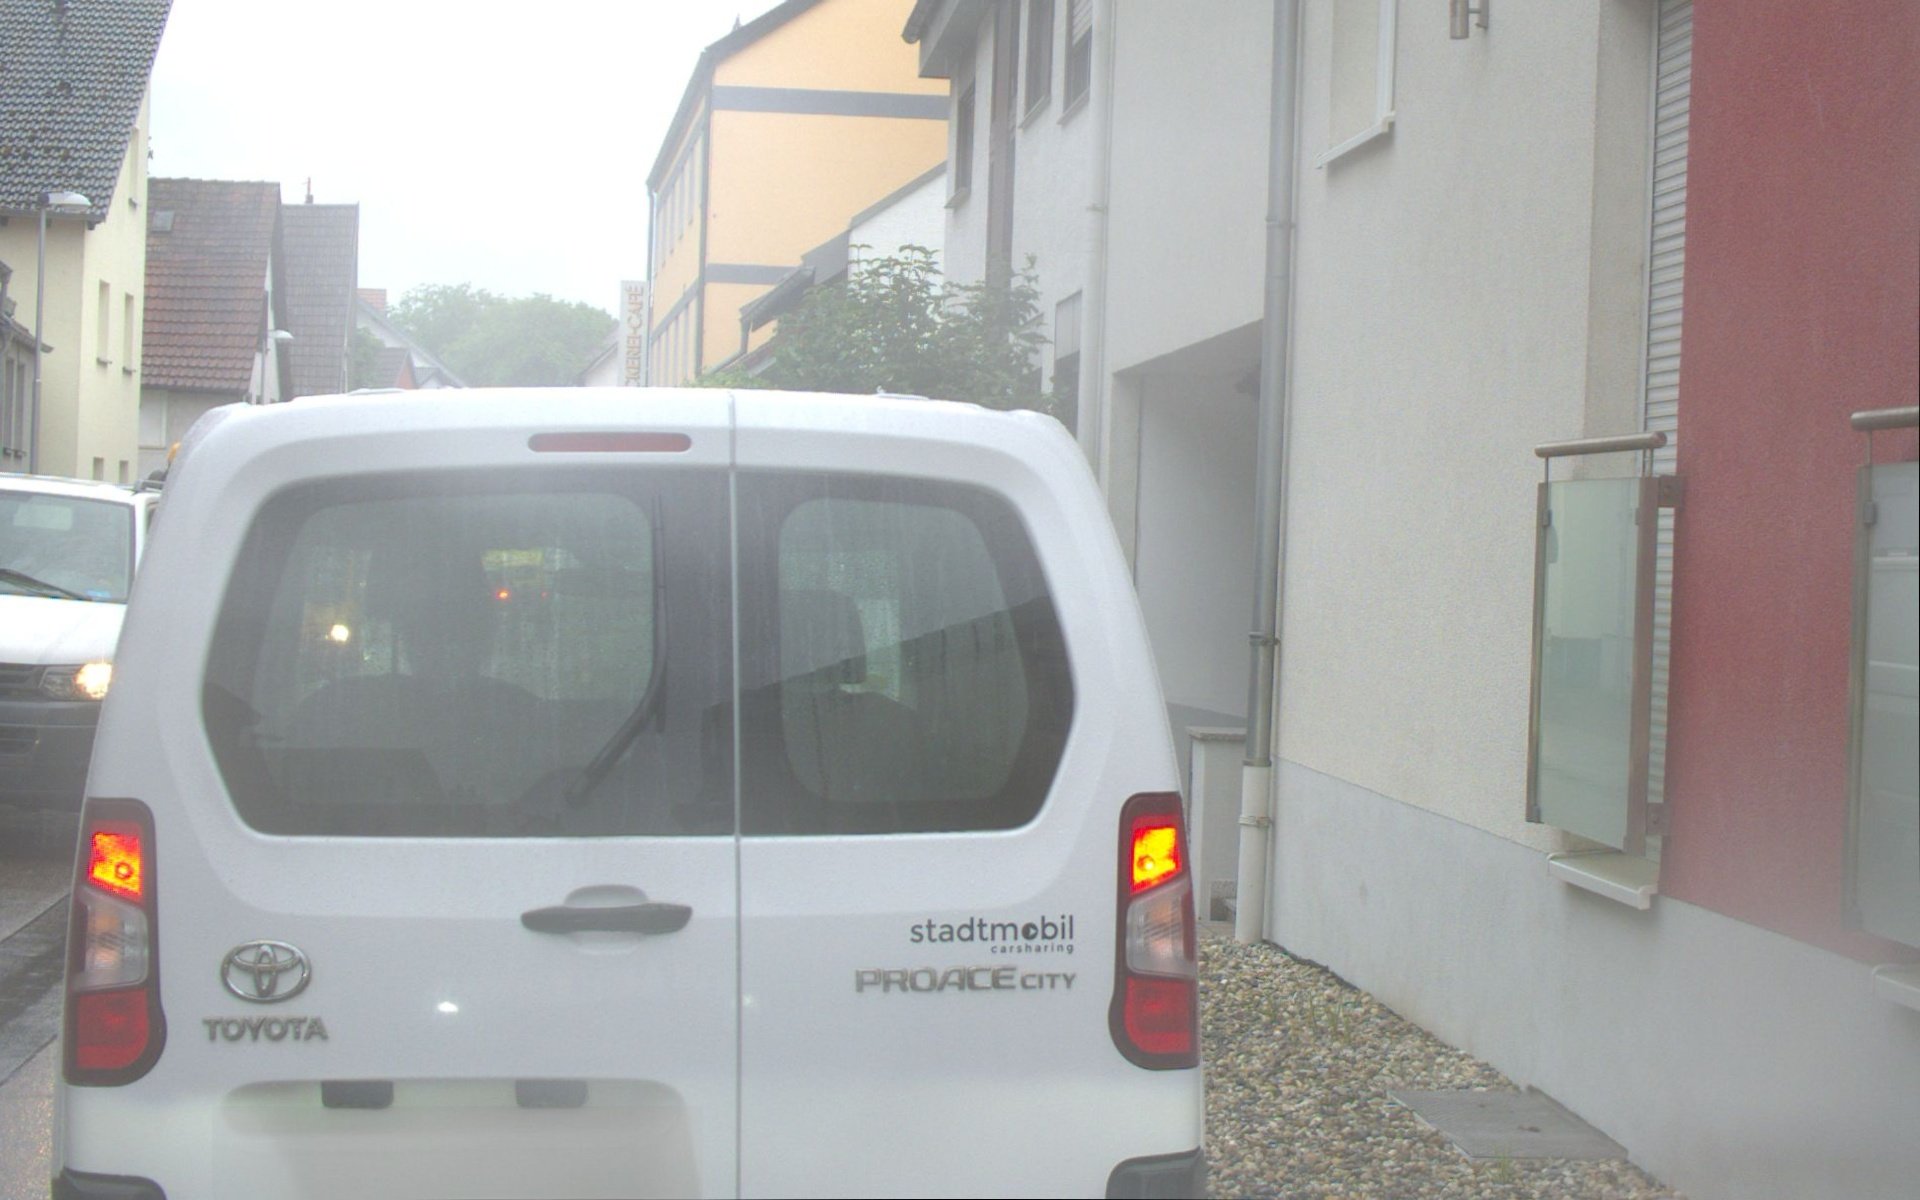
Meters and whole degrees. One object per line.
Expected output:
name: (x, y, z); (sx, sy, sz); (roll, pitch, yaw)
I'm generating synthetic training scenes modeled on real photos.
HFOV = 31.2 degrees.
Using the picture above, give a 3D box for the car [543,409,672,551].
car: (-5.599, -1.855, 54.254); (1.826, 2.007, 3.695); (3, 0, -7)

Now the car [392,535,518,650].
car: (-7.059, -0.107, 48.257); (1.561, 1.475, 3.585); (3, 0, -7)

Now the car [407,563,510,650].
car: (-8.634, 0.108, 59.401); (1.561, 1.367, 3.585); (3, 0, -6)

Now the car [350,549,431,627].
car: (-13.504, -0.286, 81.604); (1.578, 1.718, 3.551); (3, 0, -6)

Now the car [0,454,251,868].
car: (-5.173, 0.259, 18.855); (1.892, 1.960, 4.724); (3, 0, -5)

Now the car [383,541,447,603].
car: (-16.328, -0.829, 103.115); (1.578, 1.718, 3.551); (3, 0, -6)

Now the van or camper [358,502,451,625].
van or camper: (-14.030, -0.907, 87.062); (1.835, 2.915, 5.364); (3, 0, -6)

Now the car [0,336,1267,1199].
car: (-0.717, 0.543, 6.846); (1.794, 1.812, 4.102); (0, 0, -7)

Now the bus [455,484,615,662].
bus: (-8.531, -0.525, 68.983); (2.793, 3.169, 8.179); (4, 0, -7)

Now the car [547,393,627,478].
car: (-10.080, -4.418, 92.976); (1.993, 2.007, 4.001); (3, 0, -6)

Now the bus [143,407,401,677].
bus: (-9.428, -0.744, 47.917); (2.793, 3.318, 8.179); (3, 0, -7)
